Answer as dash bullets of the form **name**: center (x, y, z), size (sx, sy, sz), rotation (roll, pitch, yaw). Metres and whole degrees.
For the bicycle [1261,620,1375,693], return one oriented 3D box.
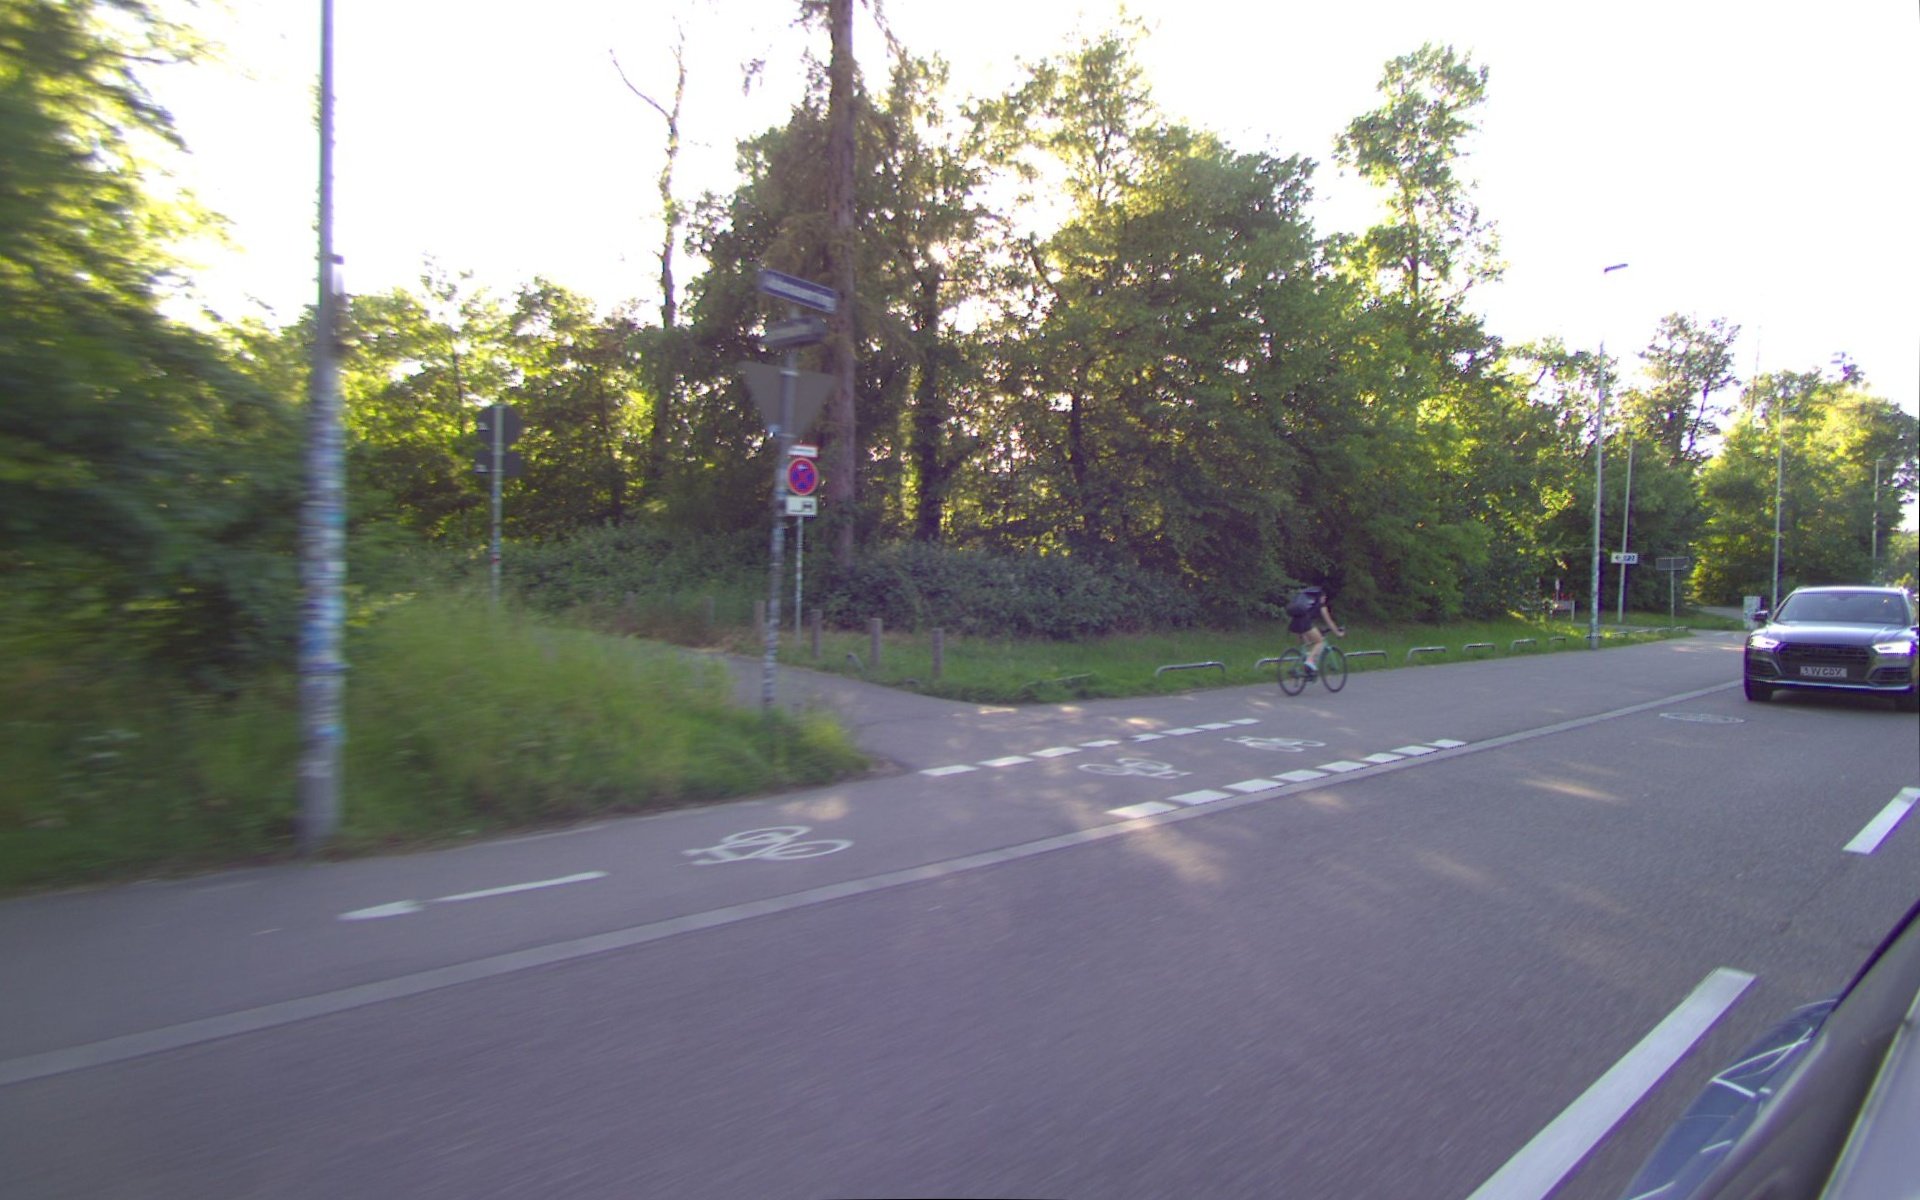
- **bicycle**: center (5.248, 0.800, 14.816), size (1.721, 0.979, 0.553), rotation (-1, 1, -27)

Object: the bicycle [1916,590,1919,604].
- **bicycle**: center (76.139, -0.225, 79.913), size (0.552, 1.151, 1.841), rotation (5, 4, 35)

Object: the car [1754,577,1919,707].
- **car**: center (13.165, 0.503, 14.765), size (4.469, 1.625, 1.894), rotation (-1, 1, -44)

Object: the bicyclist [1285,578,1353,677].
- **bicyclist**: center (5.250, 0.385, 14.817), size (0.860, 1.403, 0.481), rotation (0, 0, -27)
